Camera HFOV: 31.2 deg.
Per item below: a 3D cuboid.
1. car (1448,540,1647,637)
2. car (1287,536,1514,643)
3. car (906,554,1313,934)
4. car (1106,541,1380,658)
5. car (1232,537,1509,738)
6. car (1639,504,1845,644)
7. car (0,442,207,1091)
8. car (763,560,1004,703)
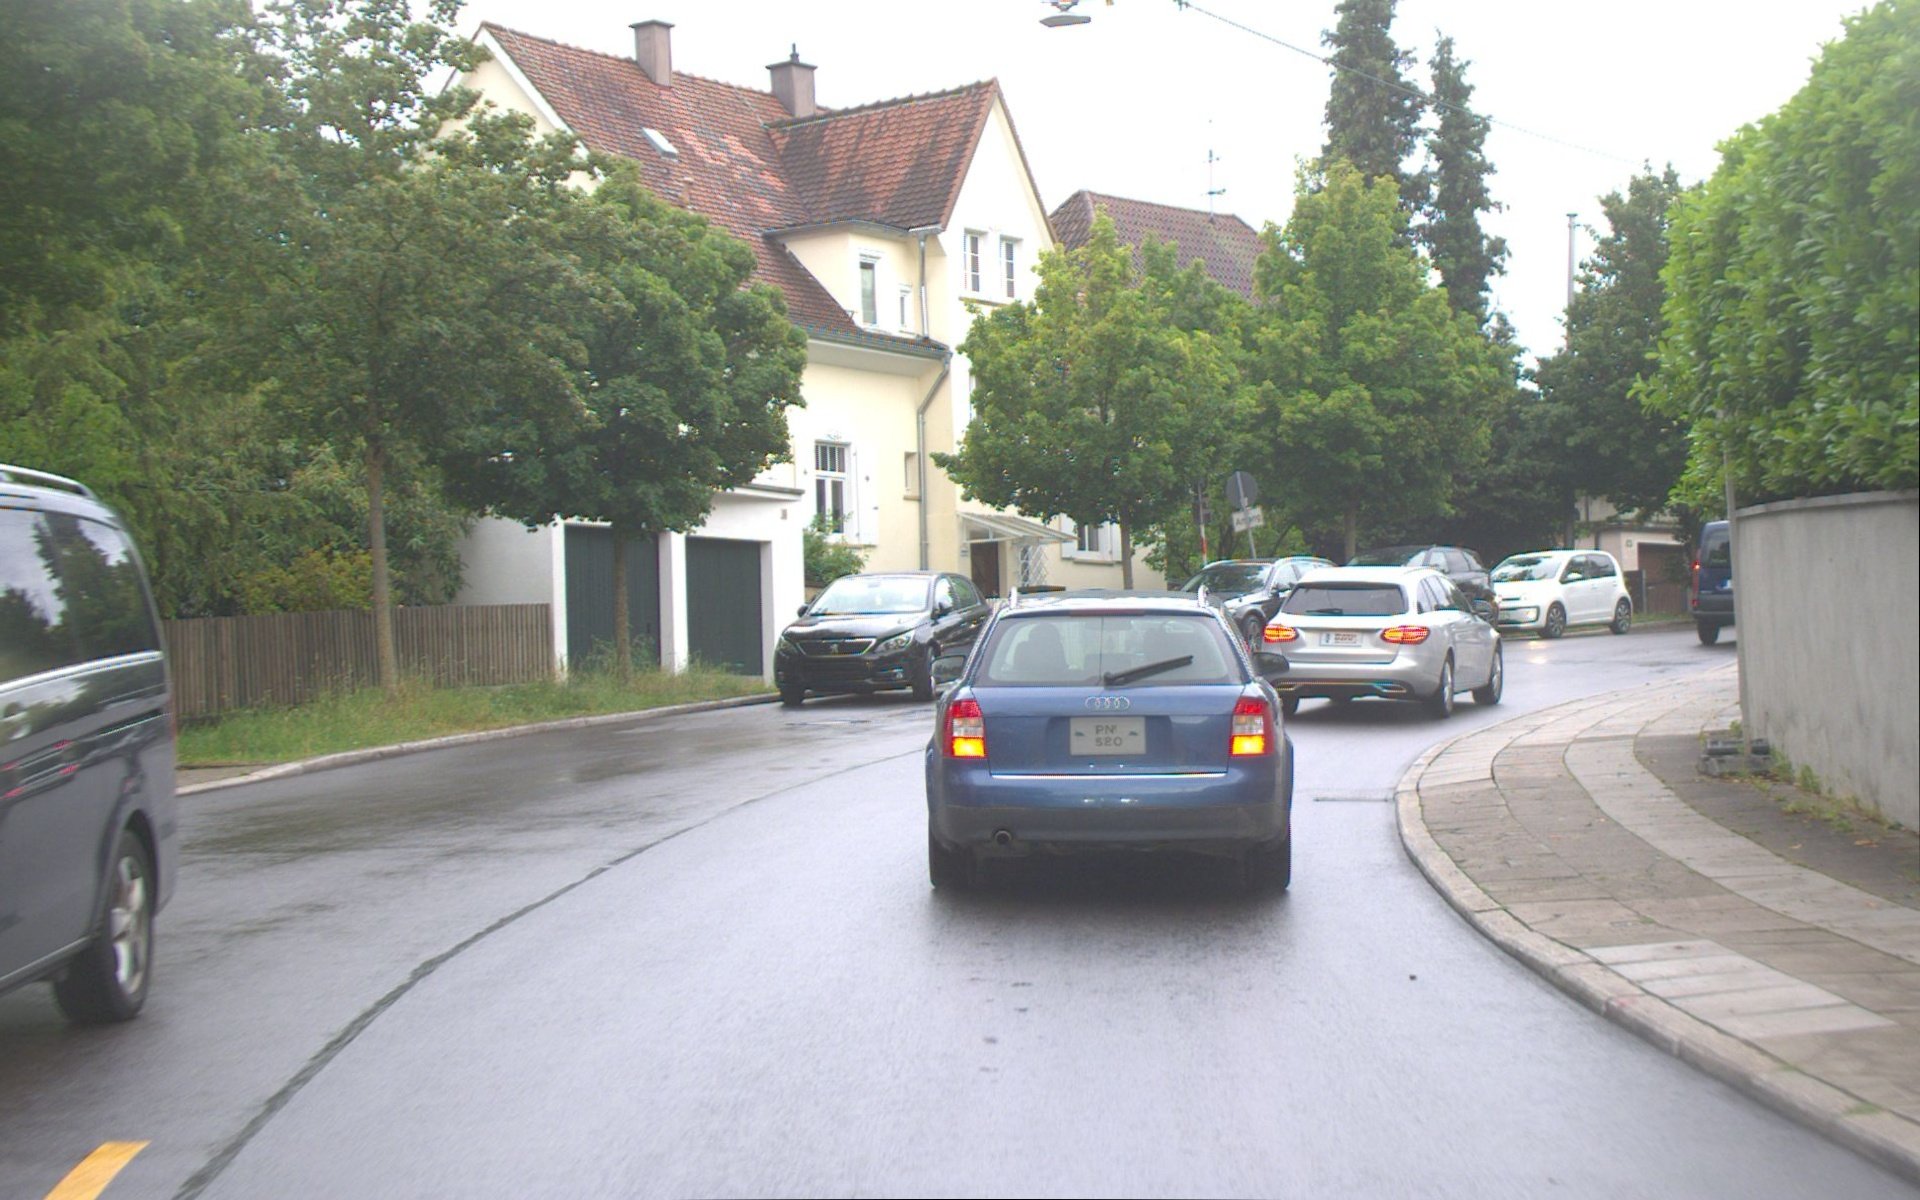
[{"bbox_3d":[9.997,-0.219,58.351,1.737,1.461,3.992,-2,1,35],"label":"car"},{"bbox_3d":[6.986,-0.189,54.185,1.737,1.540,4.202,-2,0,35],"label":"car"},{"bbox_3d":[0.723,0.621,17.390,1.733,1.461,4.000,-3,3,2],"label":"car"},{"bbox_3d":[4.181,-0.032,50.045,1.870,1.540,4.896,-2,0,33],"label":"car"},{"bbox_3d":[4.202,0.330,34.581,1.977,1.629,4.232,-3,3,17],"label":"car"},{"bbox_3d":[11.691,-0.418,51.225,1.736,1.762,4.229,-2,3,30],"label":"car"},{"bbox_3d":[-3.756,0.519,10.033,1.897,1.883,5.153,-3,1,0],"label":"car"},{"bbox_3d":[-0.824,0.327,39.515,1.671,1.461,3.892,-3,0,15],"label":"car"}]
